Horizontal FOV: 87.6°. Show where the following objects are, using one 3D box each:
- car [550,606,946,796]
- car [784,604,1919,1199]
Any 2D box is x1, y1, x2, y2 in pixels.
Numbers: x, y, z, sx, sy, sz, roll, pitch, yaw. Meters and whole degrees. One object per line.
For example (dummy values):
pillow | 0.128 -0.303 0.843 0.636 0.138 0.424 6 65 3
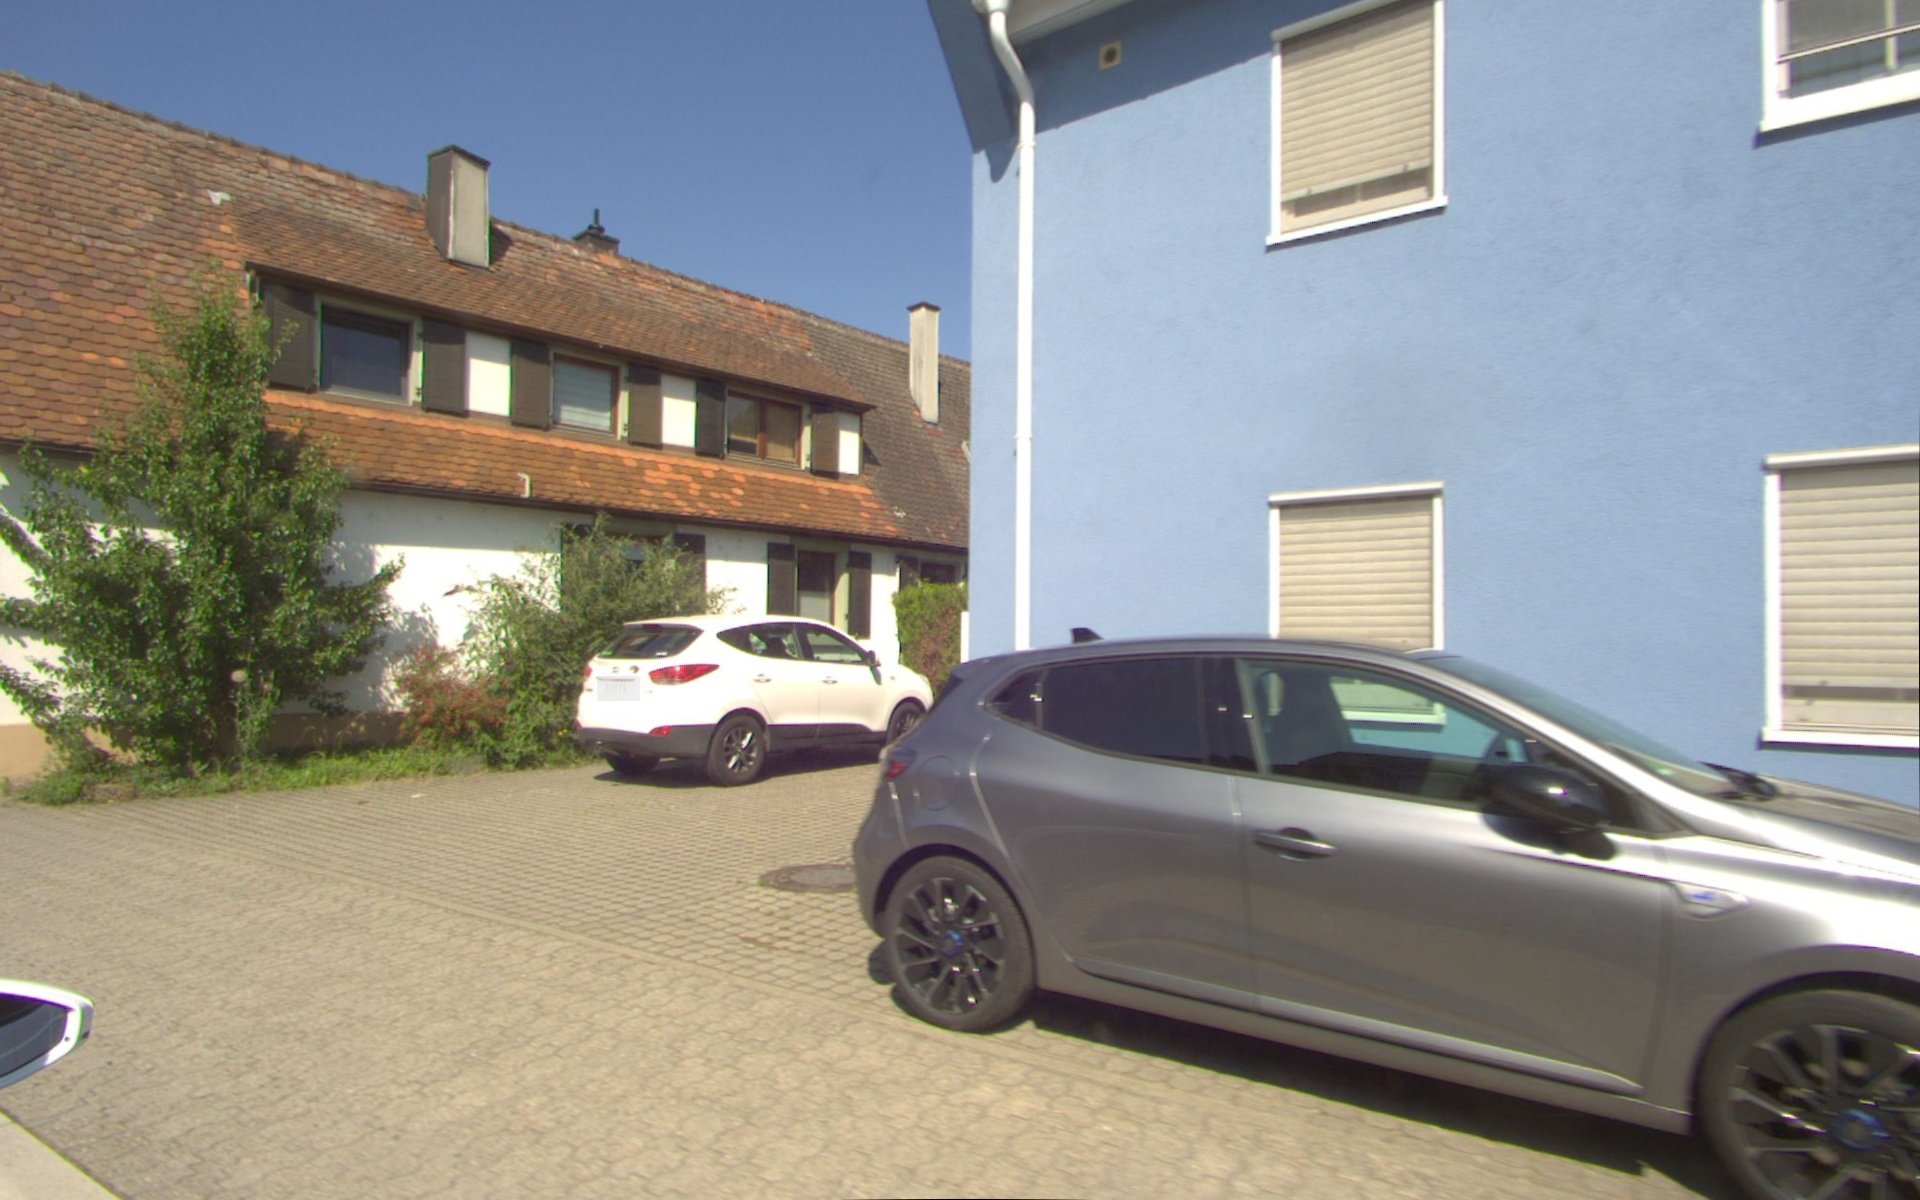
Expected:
car | -2.109 0.992 11.051 1.788 1.678 4.163 -1 -3 36
car | 1.462 0.806 3.561 4.089 1.437 1.687 -2 -4 34
